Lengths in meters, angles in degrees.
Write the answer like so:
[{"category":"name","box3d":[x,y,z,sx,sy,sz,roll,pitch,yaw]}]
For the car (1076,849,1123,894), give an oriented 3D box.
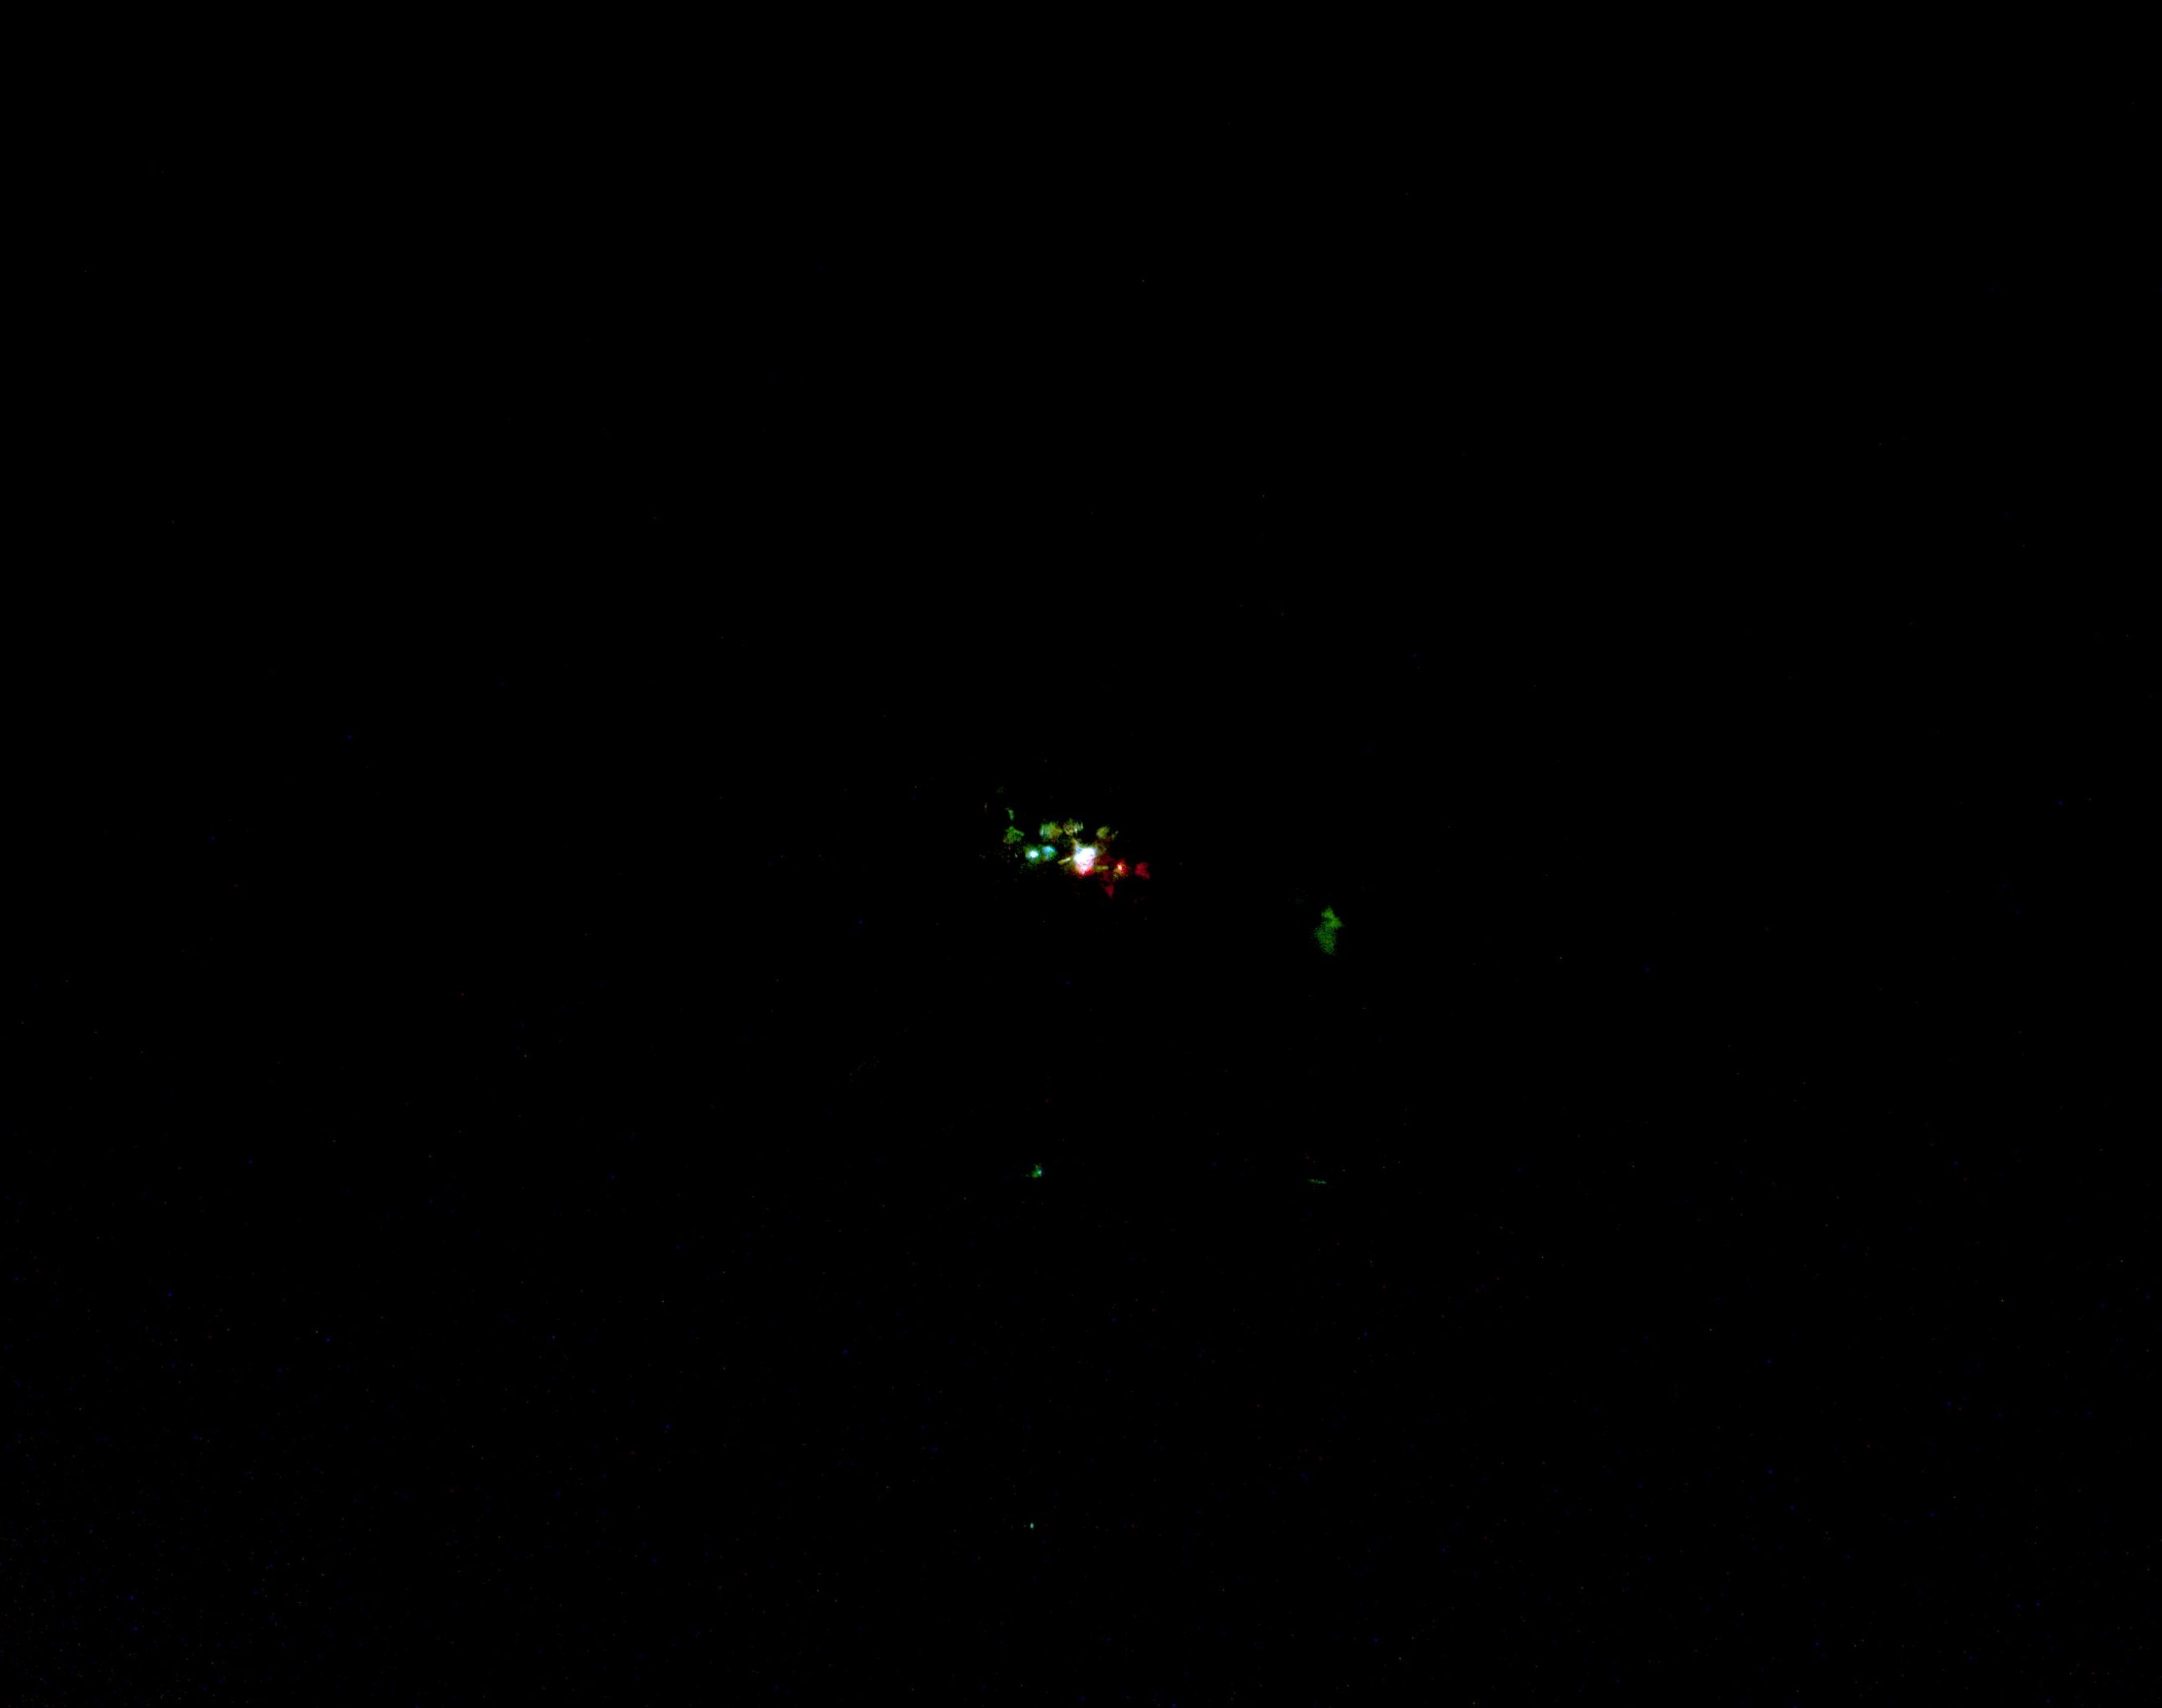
[{"category":"car","box3d":[0.843,0.767,38.036,1.987,1.806,3.918,-3,2,0]}]
